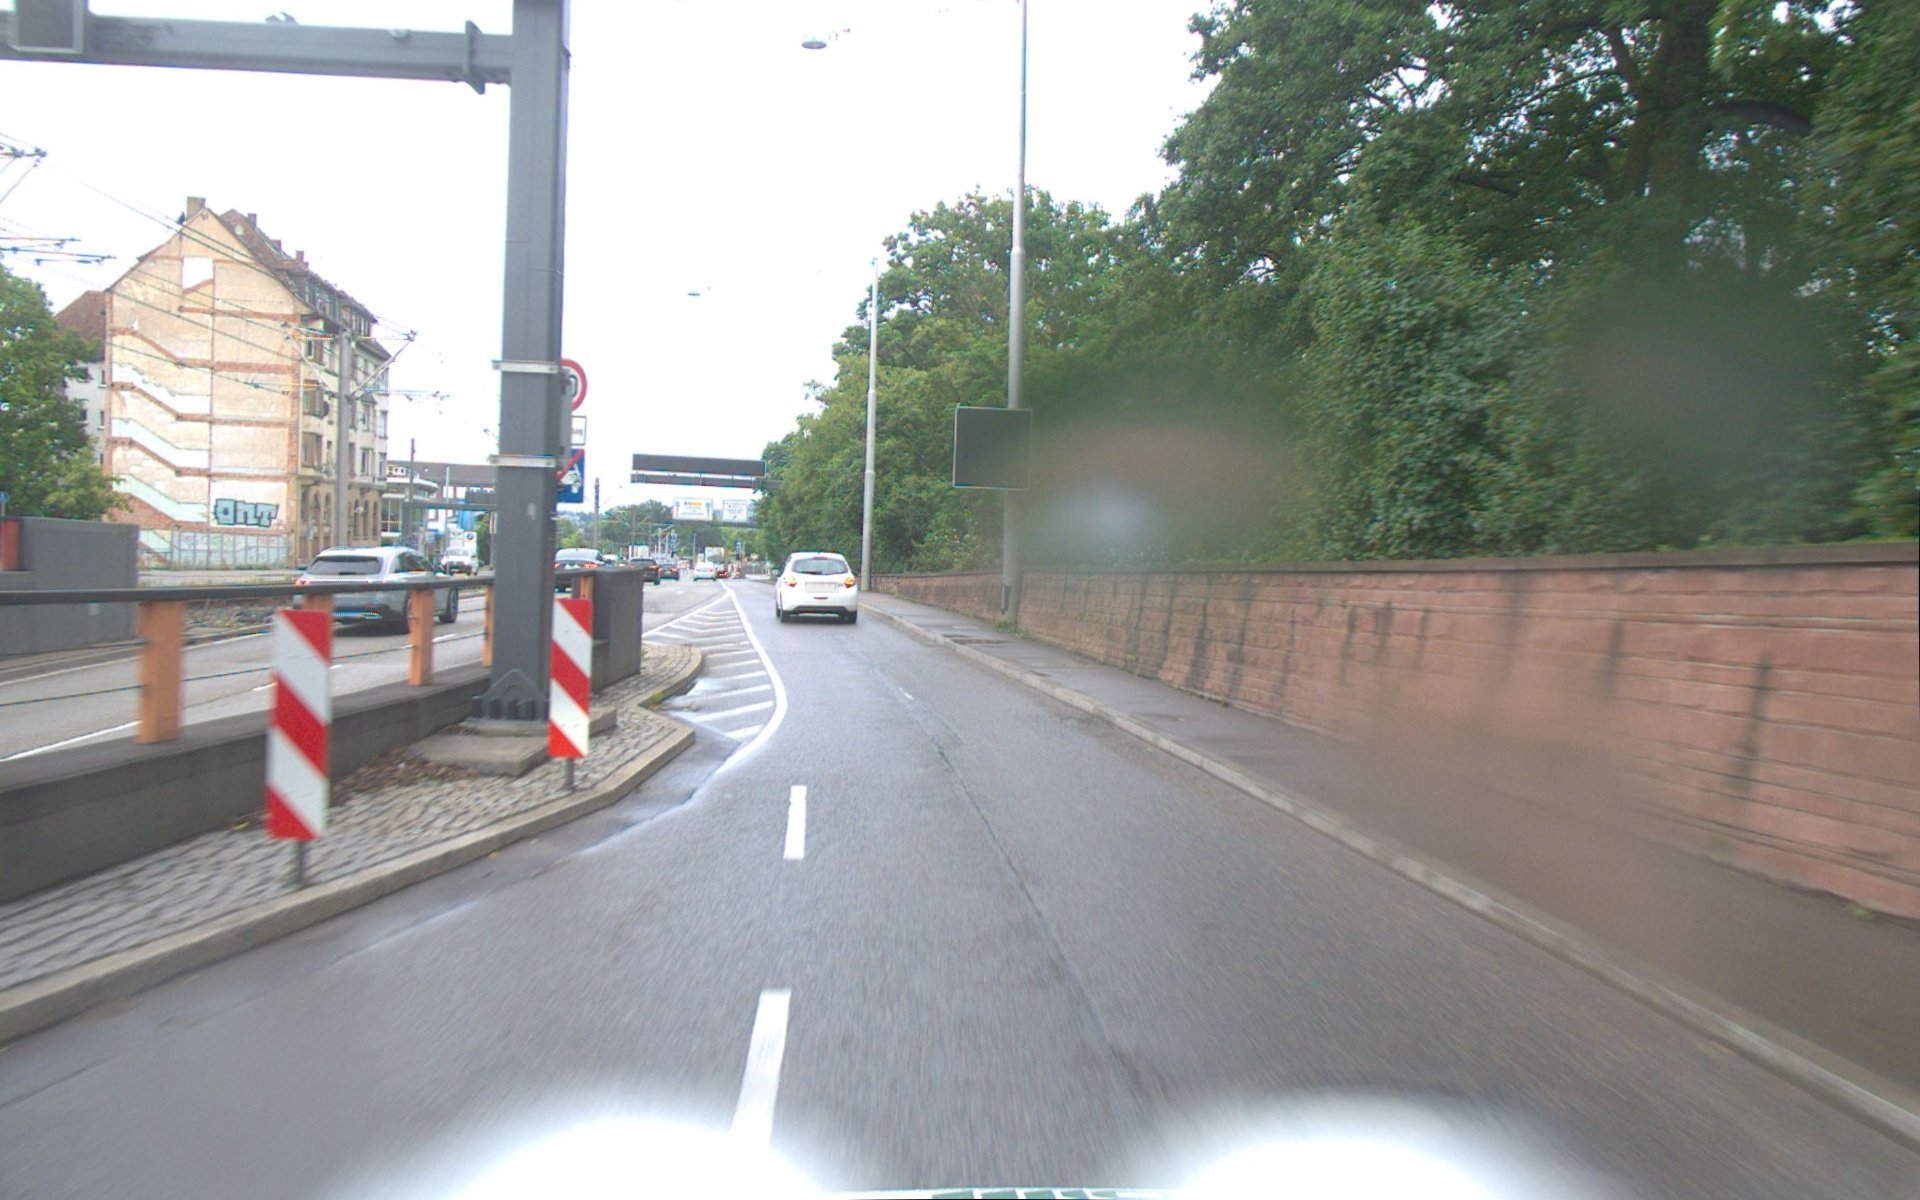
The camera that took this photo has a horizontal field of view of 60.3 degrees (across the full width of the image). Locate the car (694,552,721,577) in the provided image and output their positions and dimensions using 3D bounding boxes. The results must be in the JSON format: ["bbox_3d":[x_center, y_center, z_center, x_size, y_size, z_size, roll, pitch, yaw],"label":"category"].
[{"bbox_3d":[-20.879,-2.946,136.815,2.042,1.905,4.088,1,0,-8],"label":"car"}]

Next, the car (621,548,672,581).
[{"bbox_3d":[-16.597,-1.903,87.781,1.953,1.603,4.001,1,2,0],"label":"car"}]

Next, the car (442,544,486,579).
[{"bbox_3d":[-33.607,-2.610,112.089,1.956,2.155,5.101,3,0,-8],"label":"car"}]

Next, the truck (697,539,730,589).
[{"bbox_3d":[-31.238,-4.453,210.033,3.399,5.496,12.031,3,-3,-7],"label":"truck"}]

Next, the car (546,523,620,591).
[{"bbox_3d":[-11.899,-1.396,52.410,1.687,1.923,3.534,2,4,-4],"label":"car"}]

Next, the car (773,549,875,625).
[{"bbox_3d":[-3.087,-0.318,36.847,1.919,1.514,3.992,3,1,-9],"label":"car"}]

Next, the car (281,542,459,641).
[{"bbox_3d":[-10.618,-0.213,30.082,1.784,1.592,4.093,0,3,-1],"label":"car"}]

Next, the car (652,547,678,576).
[{"bbox_3d":[-24.189,-3.161,135.675,1.957,2.049,3.991,3,-3,-9],"label":"car"}]
